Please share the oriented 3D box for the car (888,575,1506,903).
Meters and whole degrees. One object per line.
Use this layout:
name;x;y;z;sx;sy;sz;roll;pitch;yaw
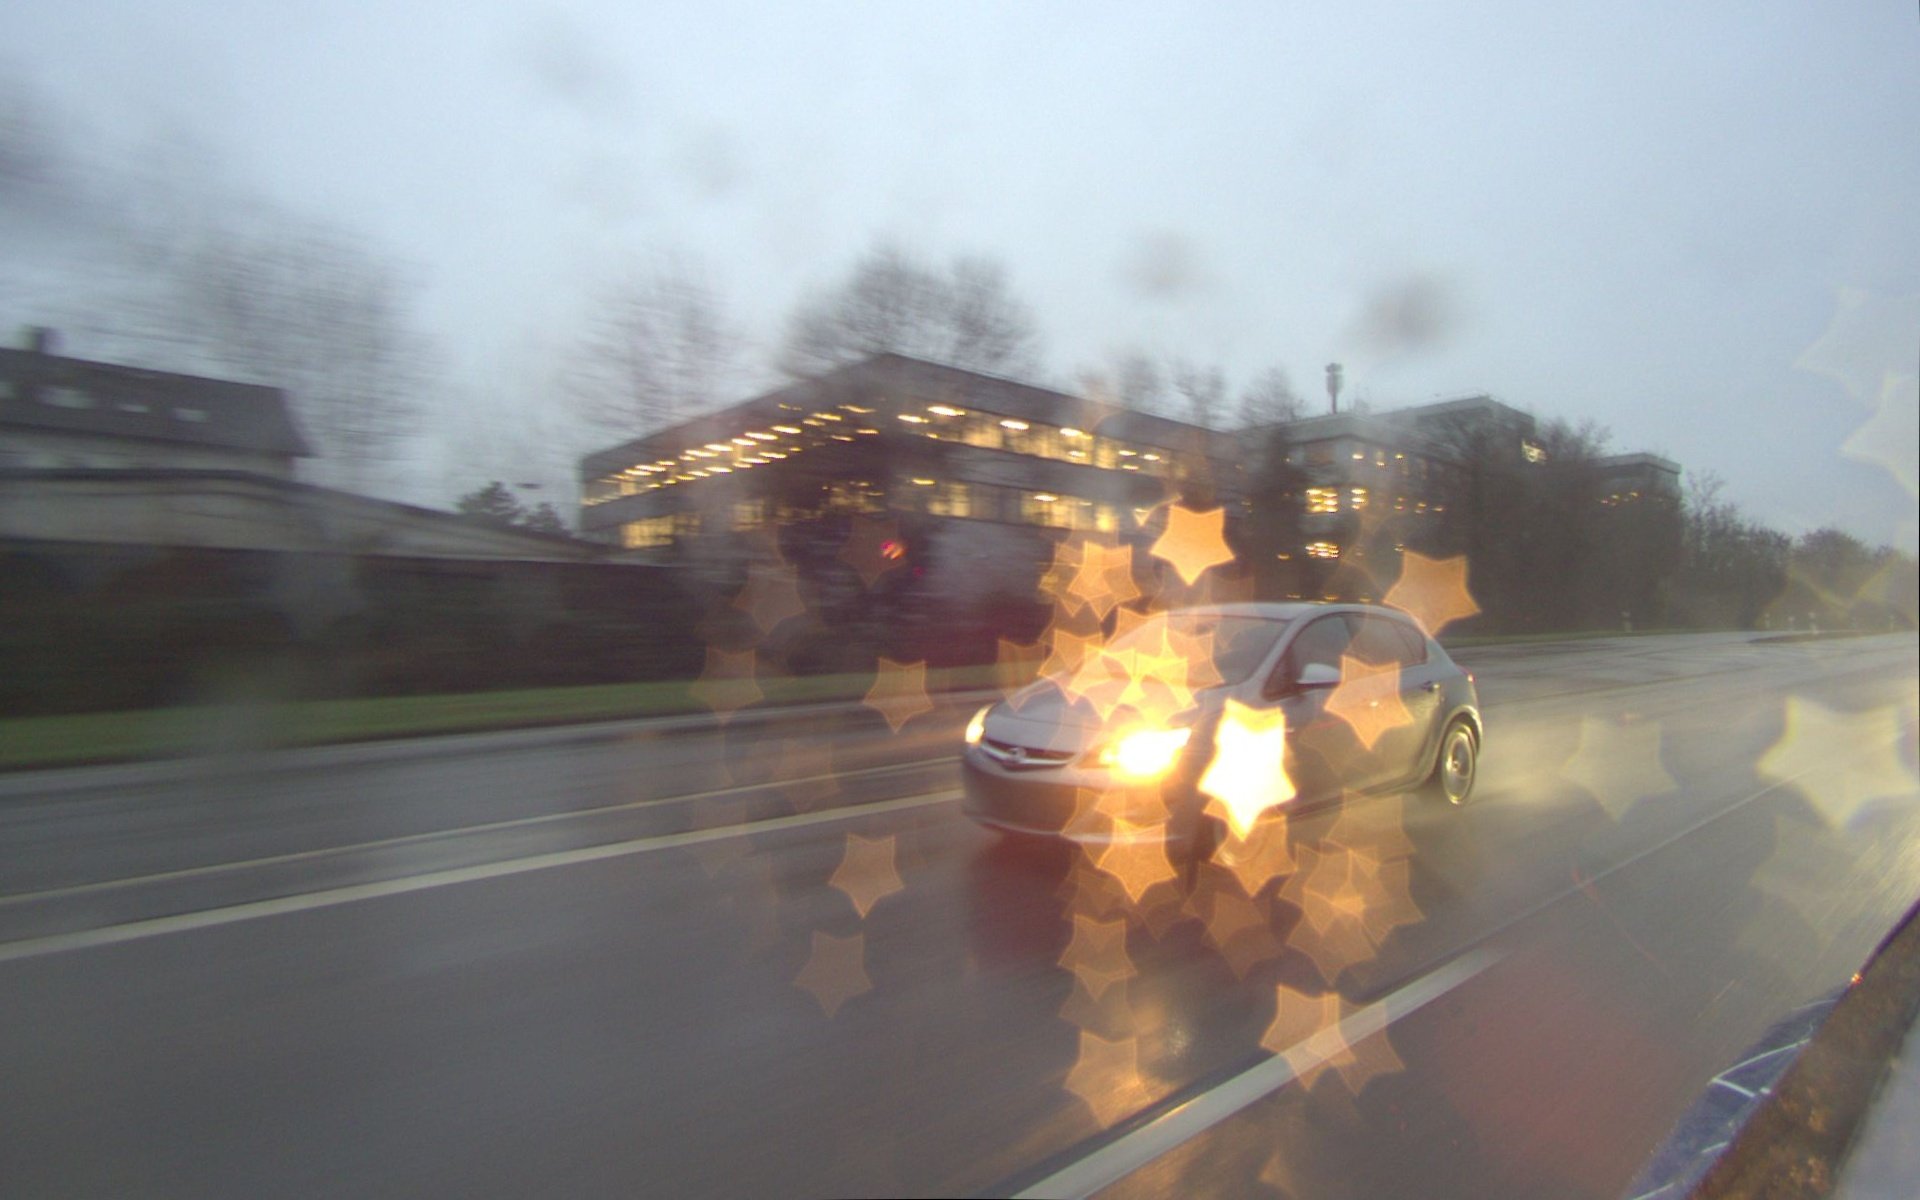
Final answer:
car;1.767;0.638;6.756;4.186;1.521;1.853;-1;-1;-39
